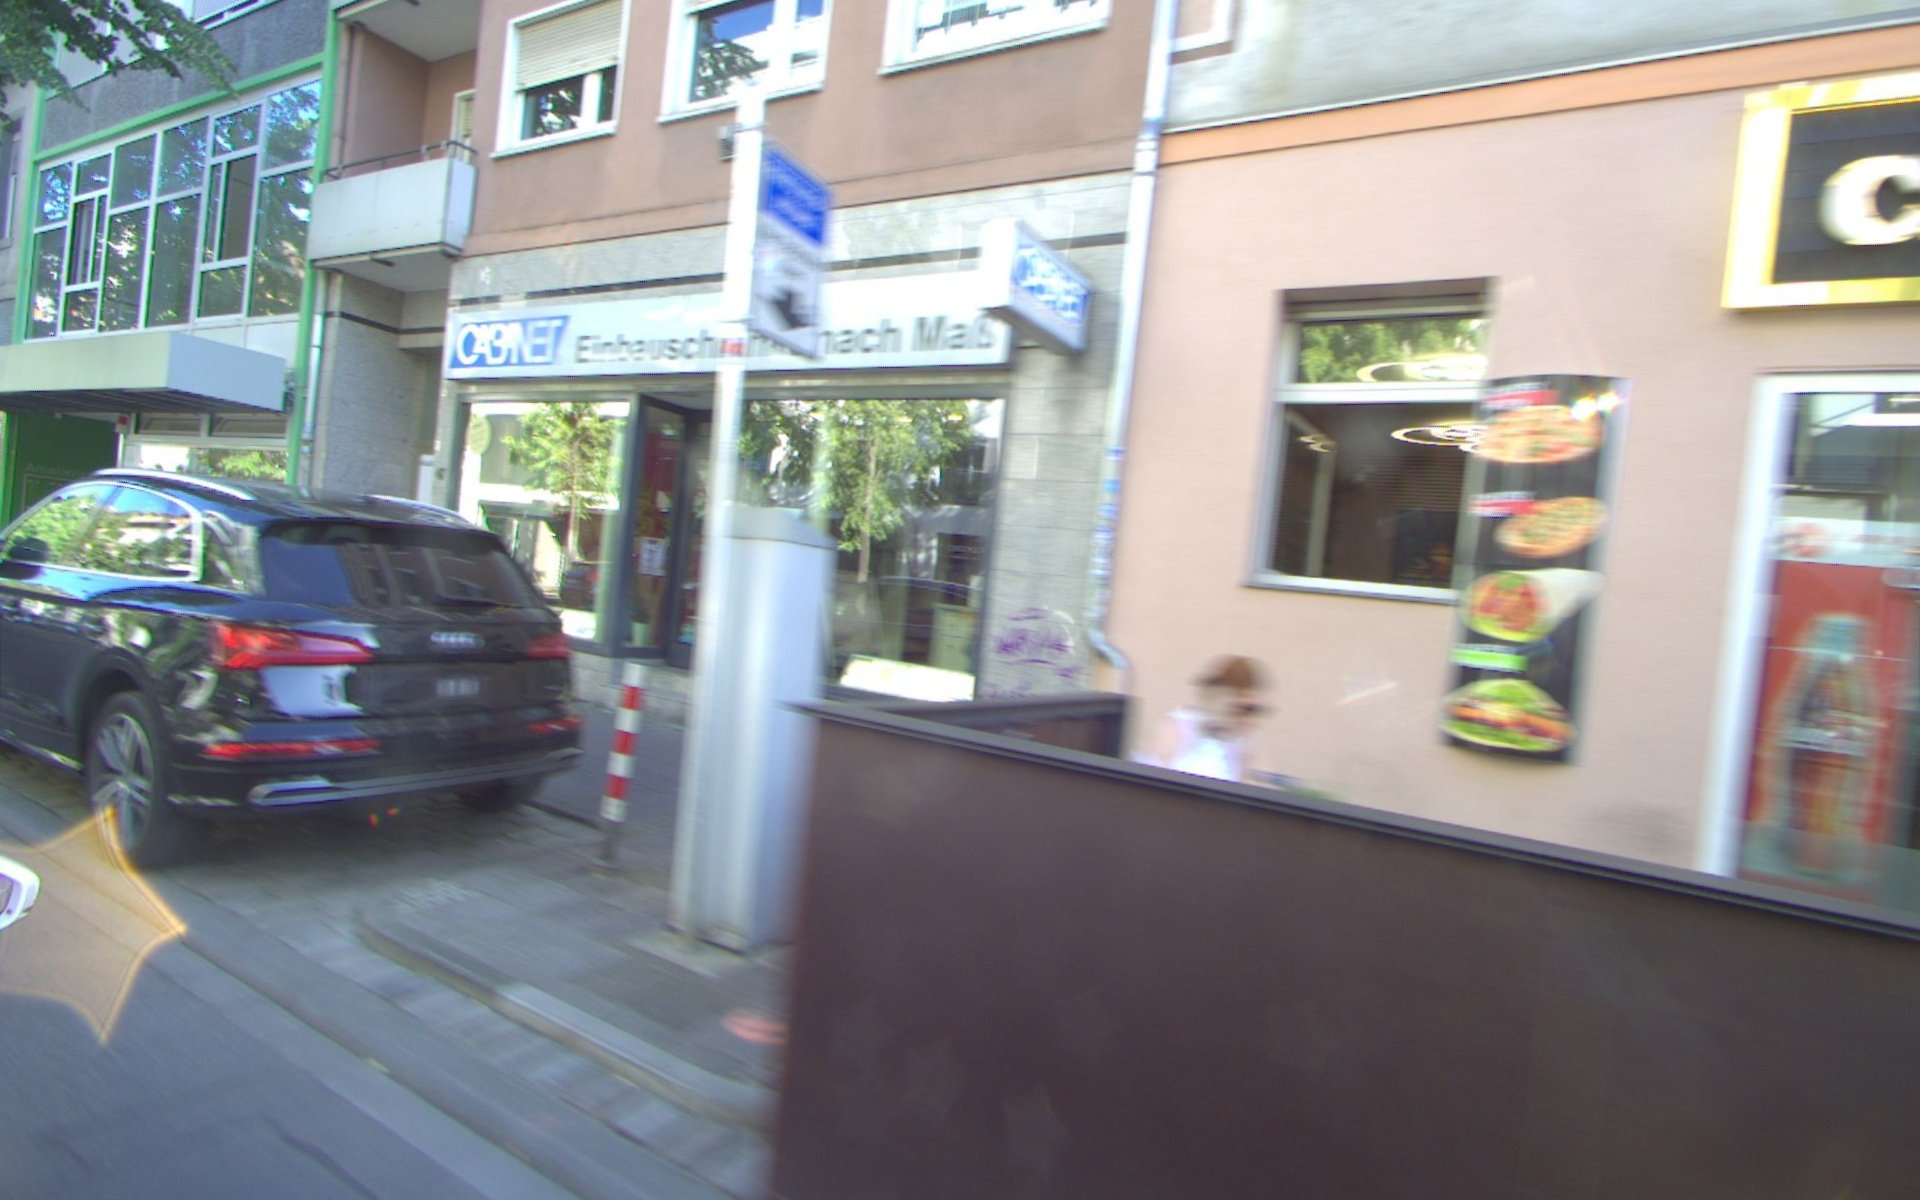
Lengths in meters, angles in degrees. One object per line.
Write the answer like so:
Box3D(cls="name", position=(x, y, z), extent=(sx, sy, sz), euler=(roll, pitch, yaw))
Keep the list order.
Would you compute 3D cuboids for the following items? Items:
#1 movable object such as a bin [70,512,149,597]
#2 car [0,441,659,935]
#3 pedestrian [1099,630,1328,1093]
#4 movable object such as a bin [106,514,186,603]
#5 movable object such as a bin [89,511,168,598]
Box3D(cls="movable object such as a bin", position=(-11.741, -0.629, 13.886), extent=(0.644, 1.078, 0.614), euler=(7, 2, 32))
Box3D(cls="car", position=(-4.018, 0.117, 5.534), extent=(4.440, 1.713, 1.993), euler=(7, 4, 31))
Box3D(cls="pedestrian", position=(0.799, 0.801, 3.280), extent=(0.465, 1.348, 0.483), euler=(6, 1, -1))
Box3D(cls="movable object such as a bin", position=(-10.718, -0.536, 13.245), extent=(0.580, 1.078, 0.614), euler=(7, 2, 32))
Box3D(cls="movable object such as a bin", position=(-11.195, -0.606, 13.547), extent=(0.580, 1.078, 0.614), euler=(7, 2, 32))
